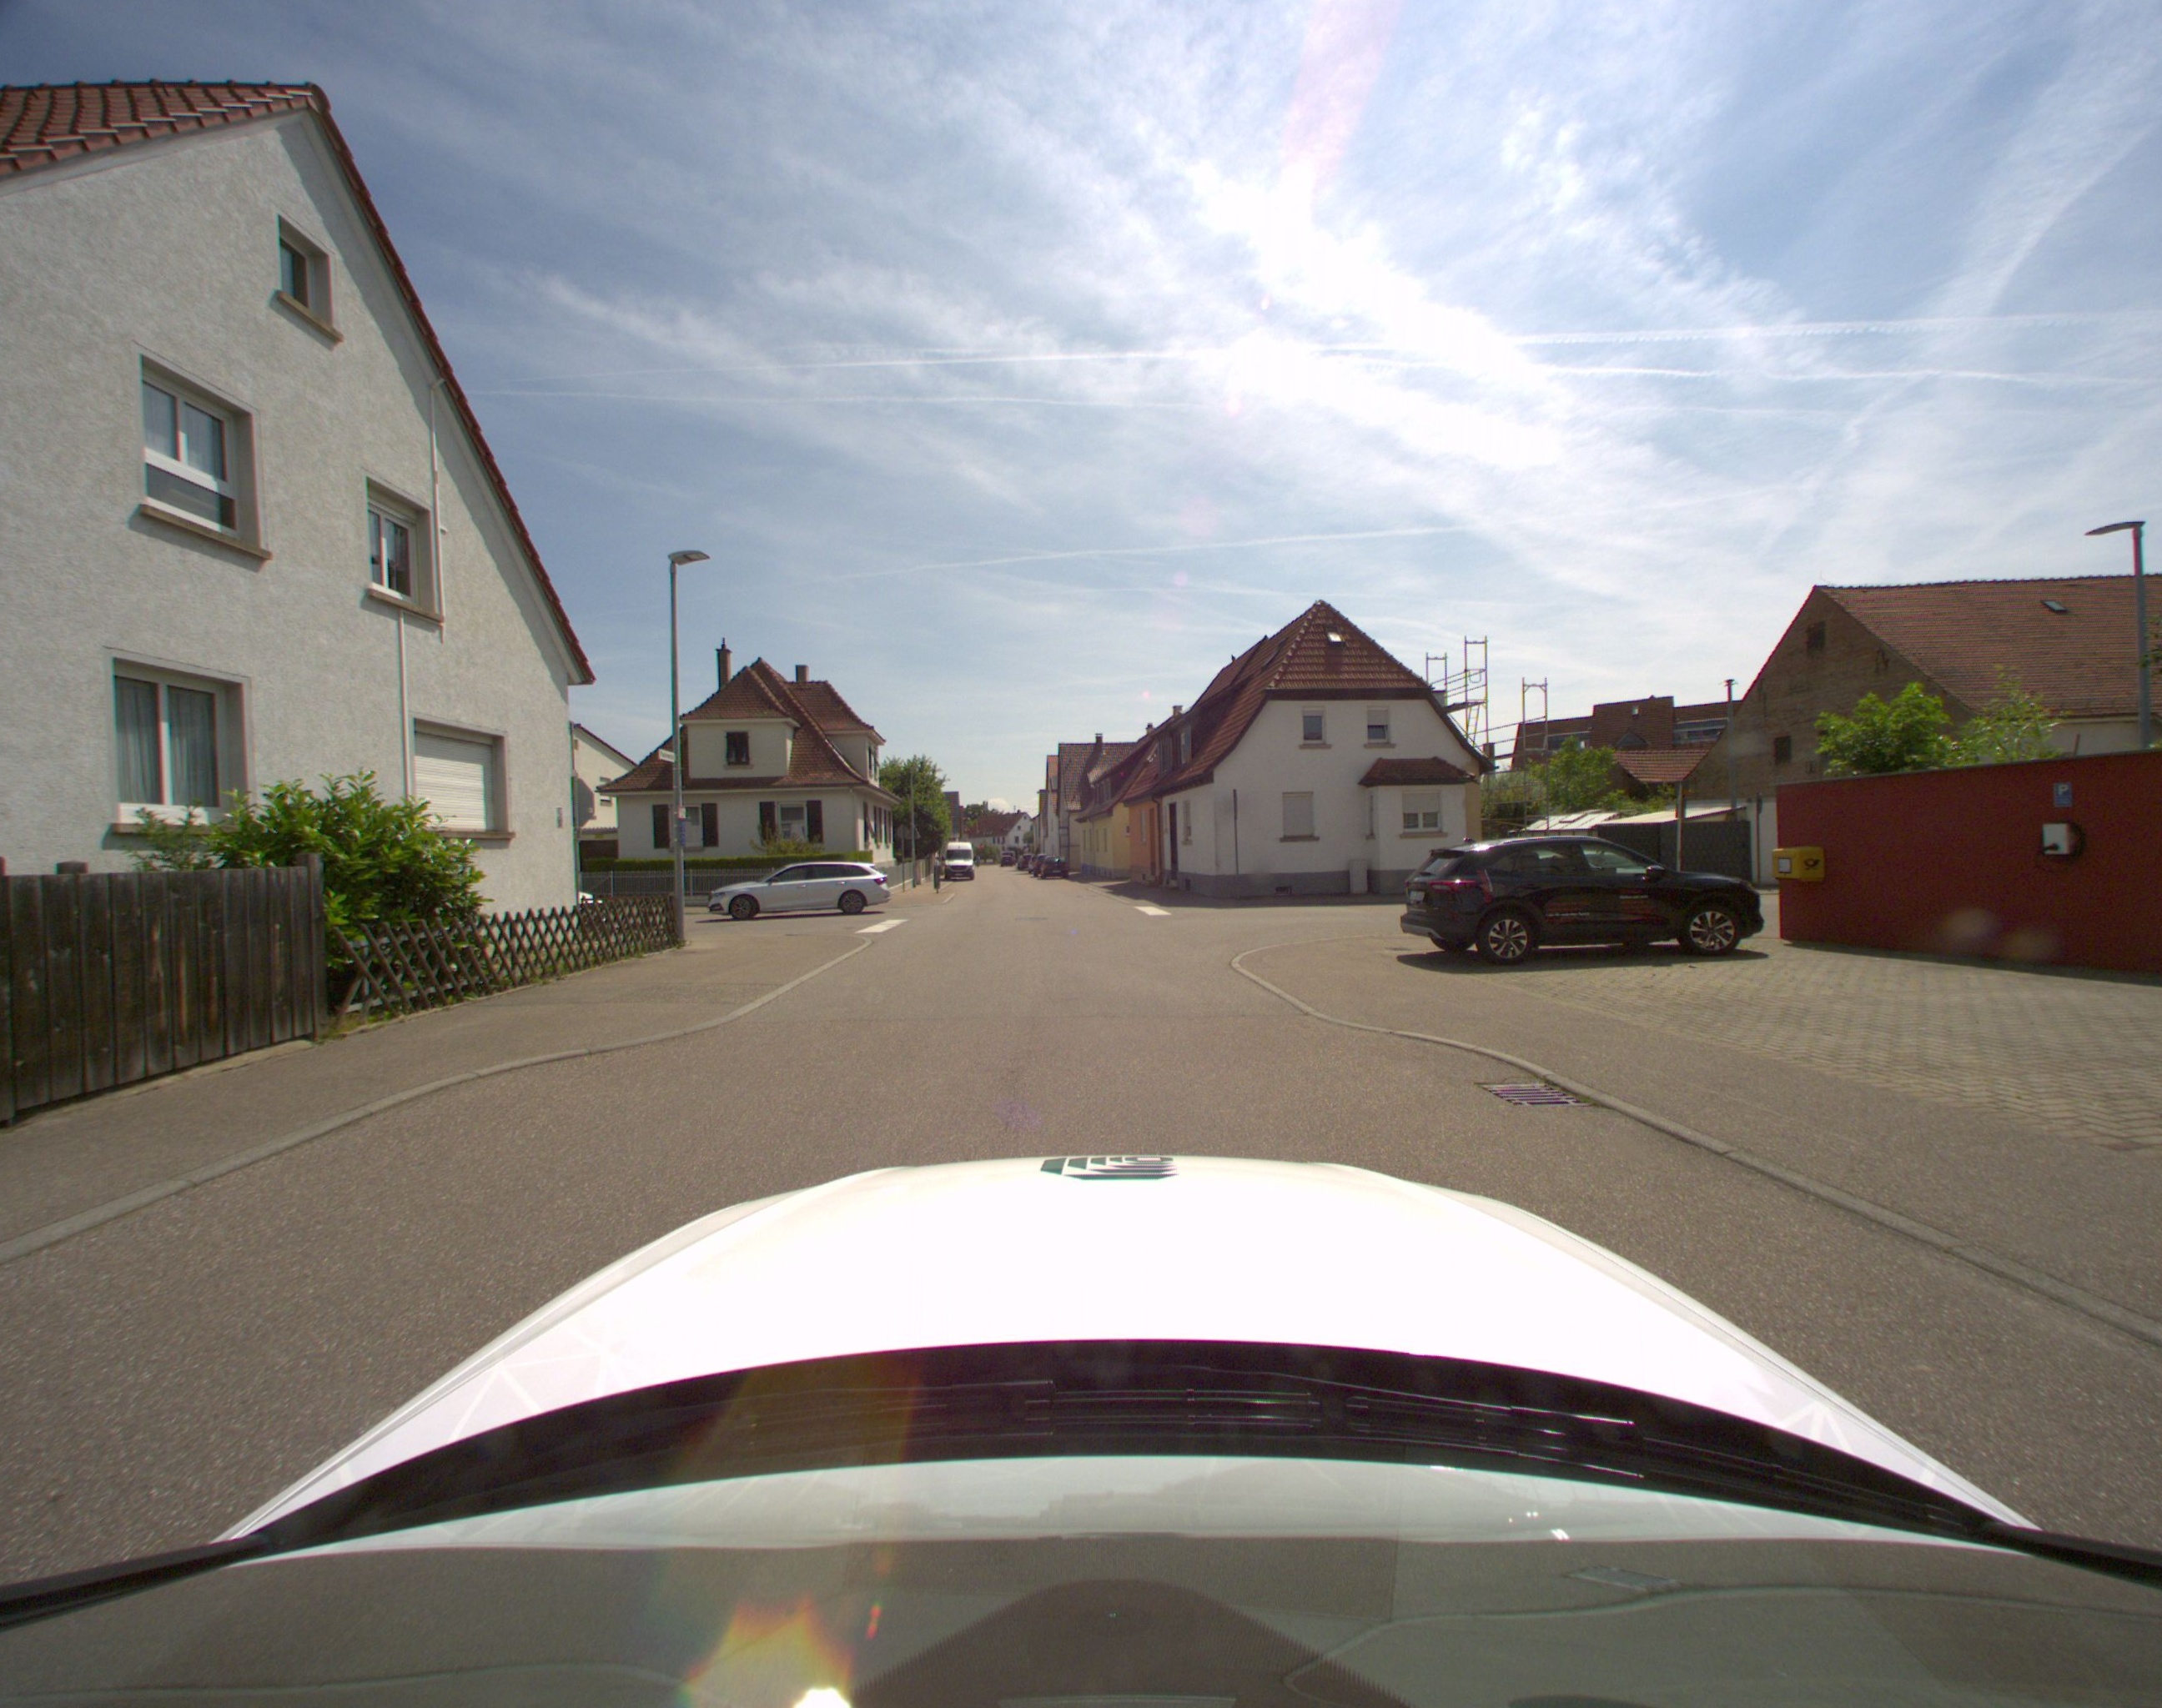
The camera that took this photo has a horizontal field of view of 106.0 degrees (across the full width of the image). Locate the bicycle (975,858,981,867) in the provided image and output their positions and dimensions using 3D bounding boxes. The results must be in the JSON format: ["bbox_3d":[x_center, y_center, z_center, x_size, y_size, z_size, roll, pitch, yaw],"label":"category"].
[{"bbox_3d":[-14.004,1.157,110.738,0.670,1.132,2.183,-1,0,-8],"label":"bicycle"}]

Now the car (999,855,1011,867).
[{"bbox_3d":[-11.131,0.972,119.202,1.512,1.624,3.180,-2,0,-3],"label":"car"}]

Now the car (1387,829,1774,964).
[{"bbox_3d":[6.768,0.546,11.412,4.278,1.653,1.848,-1,0,1],"label":"car"}]

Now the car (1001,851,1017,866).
[{"bbox_3d":[-11.385,0.690,128.794,2.122,2.158,4.735,-2,0,-1],"label":"car"}]

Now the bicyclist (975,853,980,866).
[{"bbox_3d":[-14.083,0.755,110.744,0.713,1.799,0.939,-1,0,-9],"label":"bicyclist"}]

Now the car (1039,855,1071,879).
[{"bbox_3d":[-1.719,0.822,51.940,1.610,1.431,3.743,-1,0,-9],"label":"car"}]

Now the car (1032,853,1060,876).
[{"bbox_3d":[-2.510,0.719,57.652,1.726,1.600,4.244,-1,0,-6],"label":"car"}]

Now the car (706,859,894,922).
[{"bbox_3d":[-7.505,0.930,21.893,4.593,1.438,1.745,-1,0,-24],"label":"car"}]

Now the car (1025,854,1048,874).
[{"bbox_3d":[-3.845,0.839,69.489,1.673,1.559,3.031,-1,0,-9],"label":"car"}]

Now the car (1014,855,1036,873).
[{"bbox_3d":[-5.815,1.016,84.249,1.875,1.700,4.170,-1,0,-9],"label":"car"}]

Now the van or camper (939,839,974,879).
[{"bbox_3d":[-8.575,0.328,56.635,2.182,2.571,6.791,-1,0,-7],"label":"van or camper"}]

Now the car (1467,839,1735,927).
[{"bbox_3d":[9.699,0.522,15.413,3.972,1.504,1.695,-1,0,1],"label":"car"}]

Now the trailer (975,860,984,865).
[{"bbox_3d":[-17.972,1.518,144.102,1.499,0.927,1.010,0,0,-6],"label":"trailer"}]

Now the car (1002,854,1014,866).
[{"bbox_3d":[-10.296,0.845,115.229,1.512,1.567,3.180,-1,0,-3],"label":"car"}]
